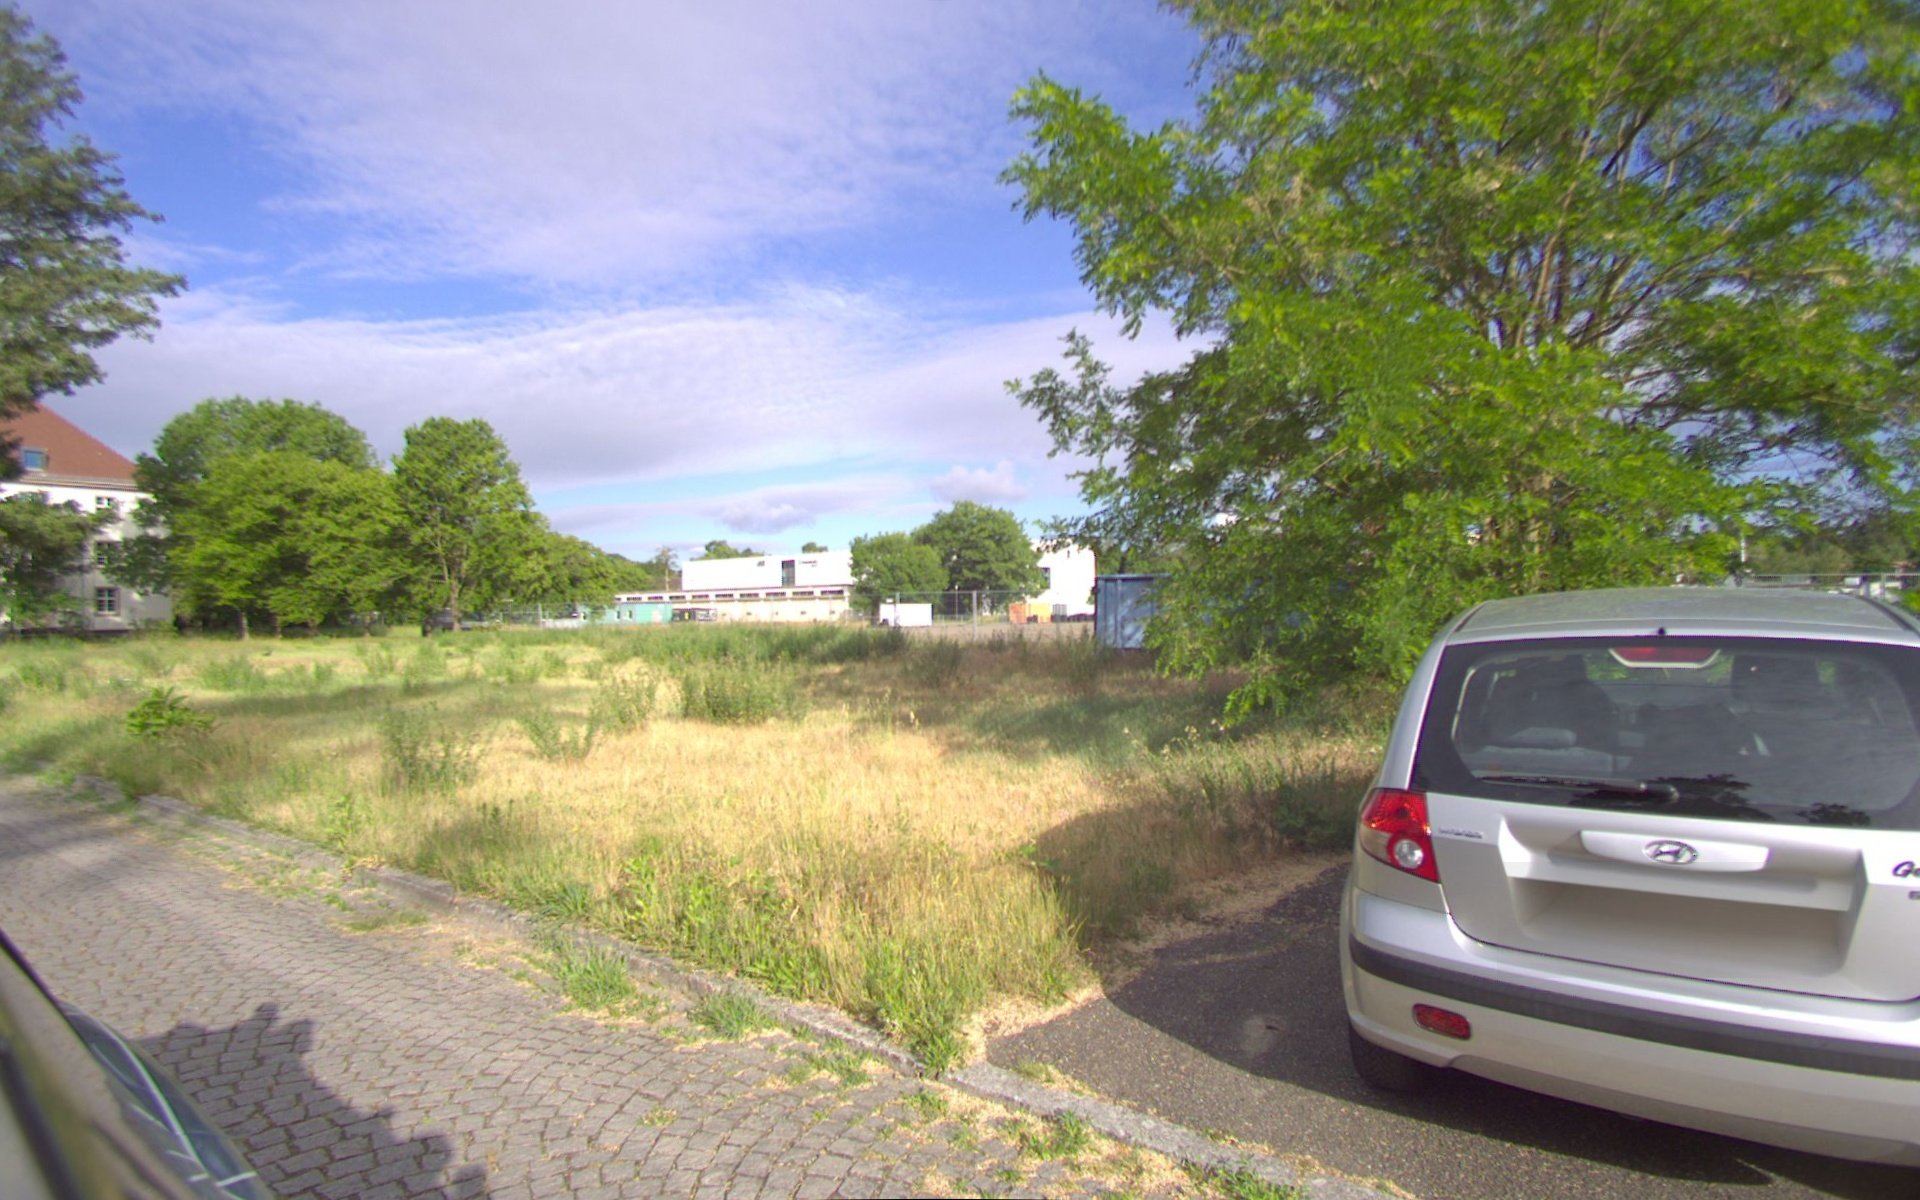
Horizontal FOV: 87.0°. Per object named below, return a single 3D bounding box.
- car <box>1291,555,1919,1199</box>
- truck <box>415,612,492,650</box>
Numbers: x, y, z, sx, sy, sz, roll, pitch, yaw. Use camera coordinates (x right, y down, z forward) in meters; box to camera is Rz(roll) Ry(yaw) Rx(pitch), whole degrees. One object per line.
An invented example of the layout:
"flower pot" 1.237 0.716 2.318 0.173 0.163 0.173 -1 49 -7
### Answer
"car" 2.670 0.631 3.608 1.845 1.484 3.652 -1 2 35
"truck" -36.710 2.240 73.276 6.951 2.606 2.388 -2 -1 40
